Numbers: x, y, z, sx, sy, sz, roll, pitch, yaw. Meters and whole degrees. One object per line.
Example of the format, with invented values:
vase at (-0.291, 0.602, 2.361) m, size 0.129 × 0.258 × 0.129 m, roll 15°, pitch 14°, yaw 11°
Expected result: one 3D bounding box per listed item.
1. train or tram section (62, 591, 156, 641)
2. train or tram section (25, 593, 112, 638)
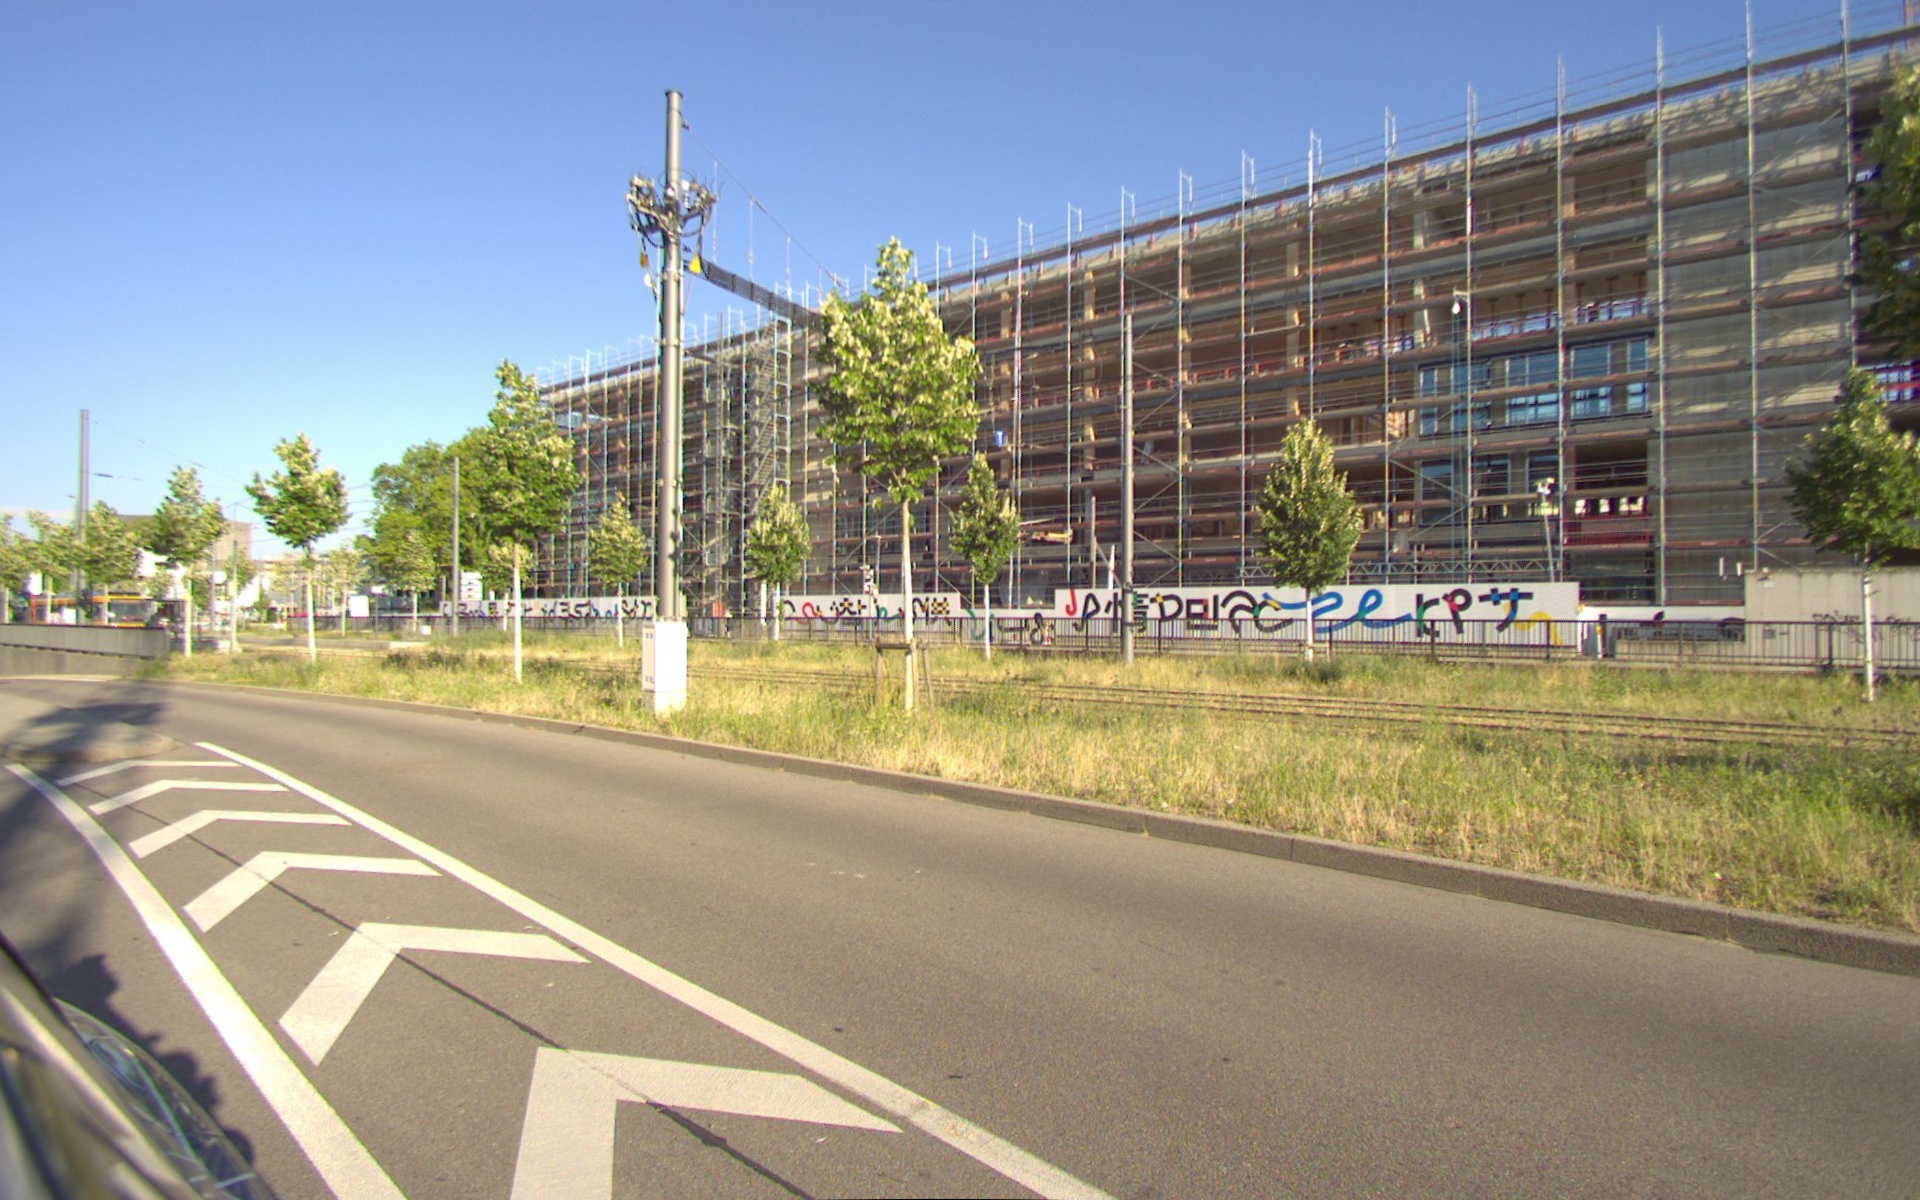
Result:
train or tram section at (-62.676, 1.120, 74.370) m, size 12.619 × 3.423 × 2.917 m, roll -1°, pitch 0°, yaw 39°
train or tram section at (-73.282, 1.244, 83.005) m, size 14.749 × 3.423 × 2.917 m, roll -1°, pitch 0°, yaw 39°
